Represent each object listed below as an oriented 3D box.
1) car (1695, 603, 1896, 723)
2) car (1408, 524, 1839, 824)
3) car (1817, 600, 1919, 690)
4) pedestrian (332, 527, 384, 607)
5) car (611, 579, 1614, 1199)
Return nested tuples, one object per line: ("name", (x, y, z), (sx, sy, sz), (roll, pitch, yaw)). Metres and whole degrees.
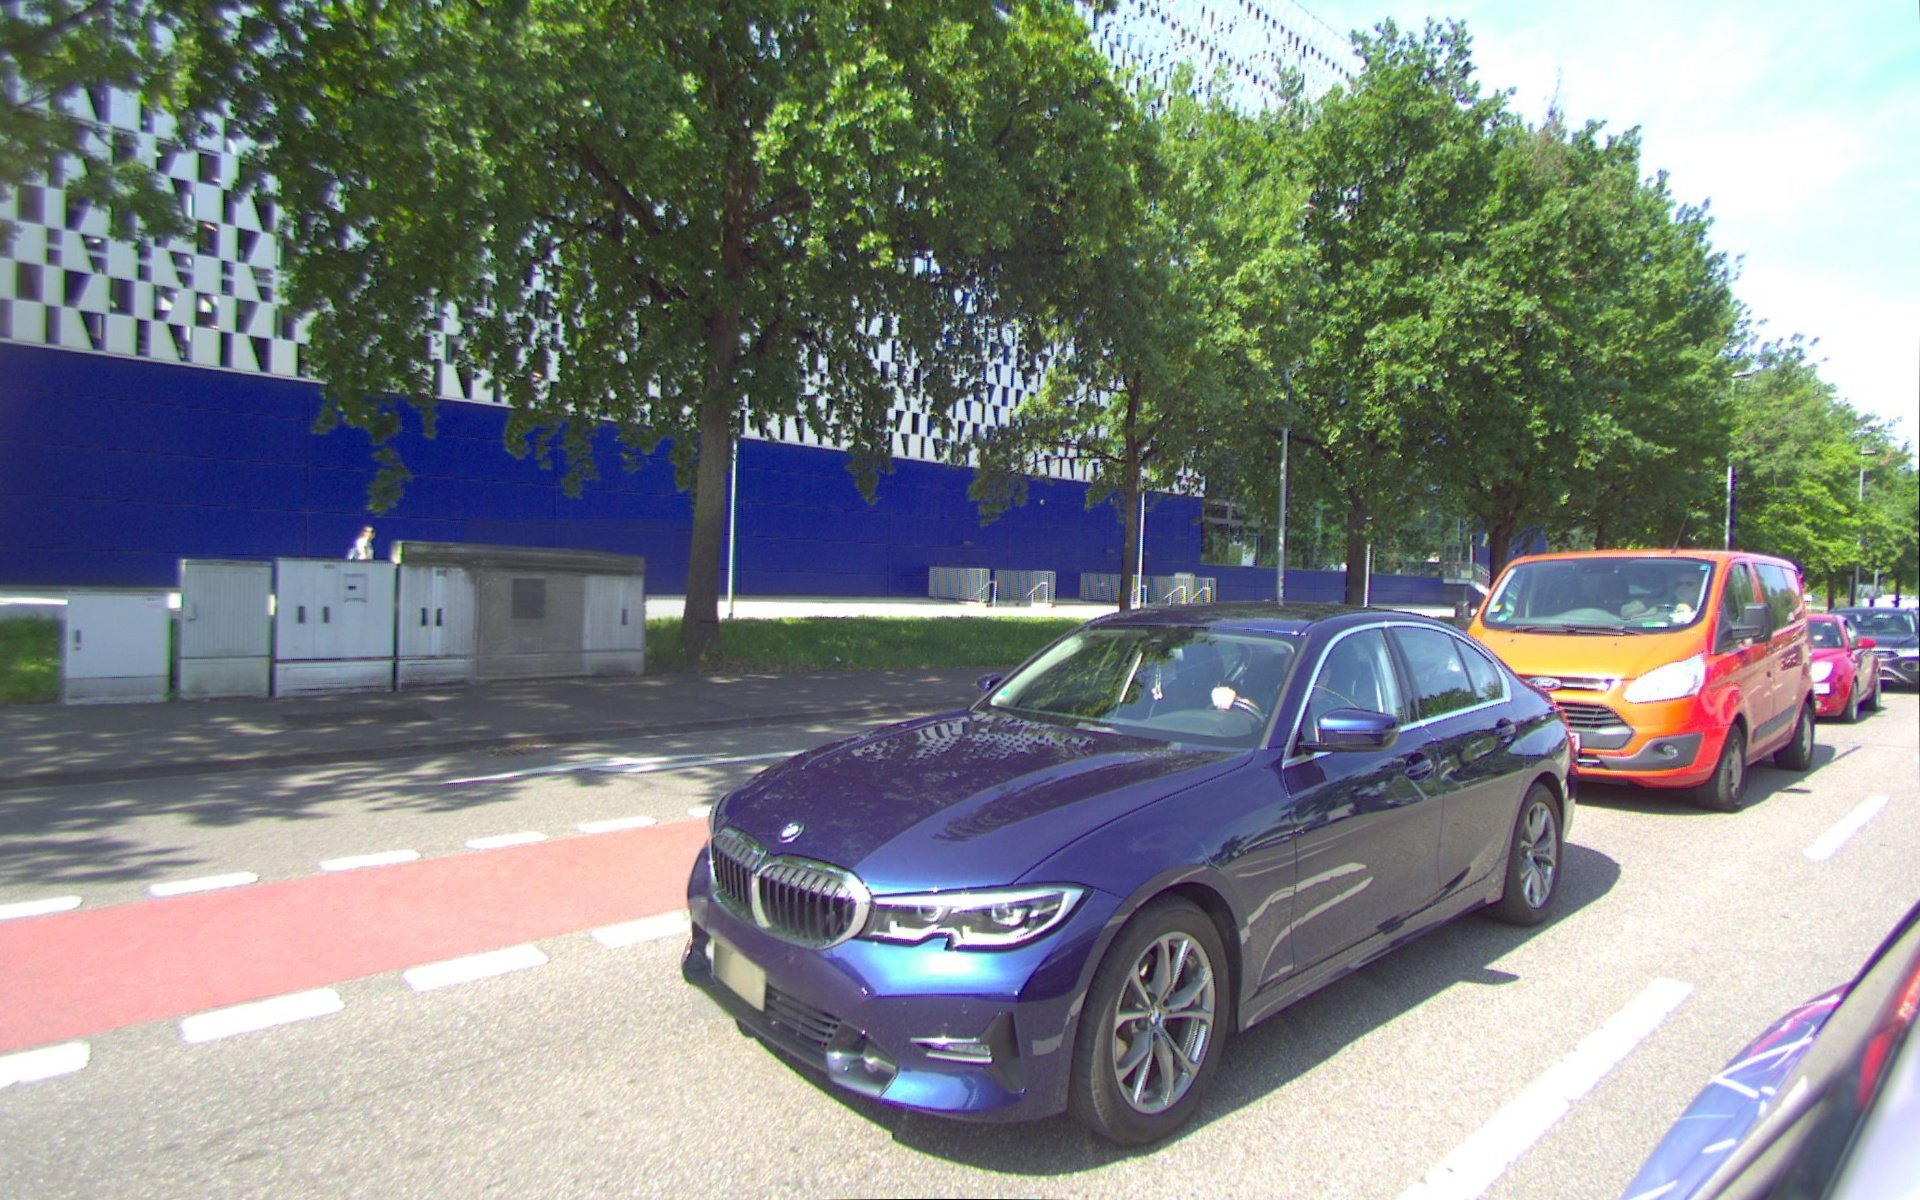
("car", (11.947, 0.784, 14.385), (3.849, 1.440, 1.690), (0, 1, -43))
("car", (5.983, 0.472, 8.855), (4.726, 1.931, 2.012), (0, 0, -42))
("car", (17.793, 0.793, 19.355), (3.932, 1.559, 1.647), (0, -1, -43))
("pedestrian", (-12.104, -0.665, 20.355), (0.767, 1.565, 0.680), (1, 2, -41))
("car", (1.052, 0.682, 4.314), (4.459, 1.447, 1.798), (0, 1, -42))
